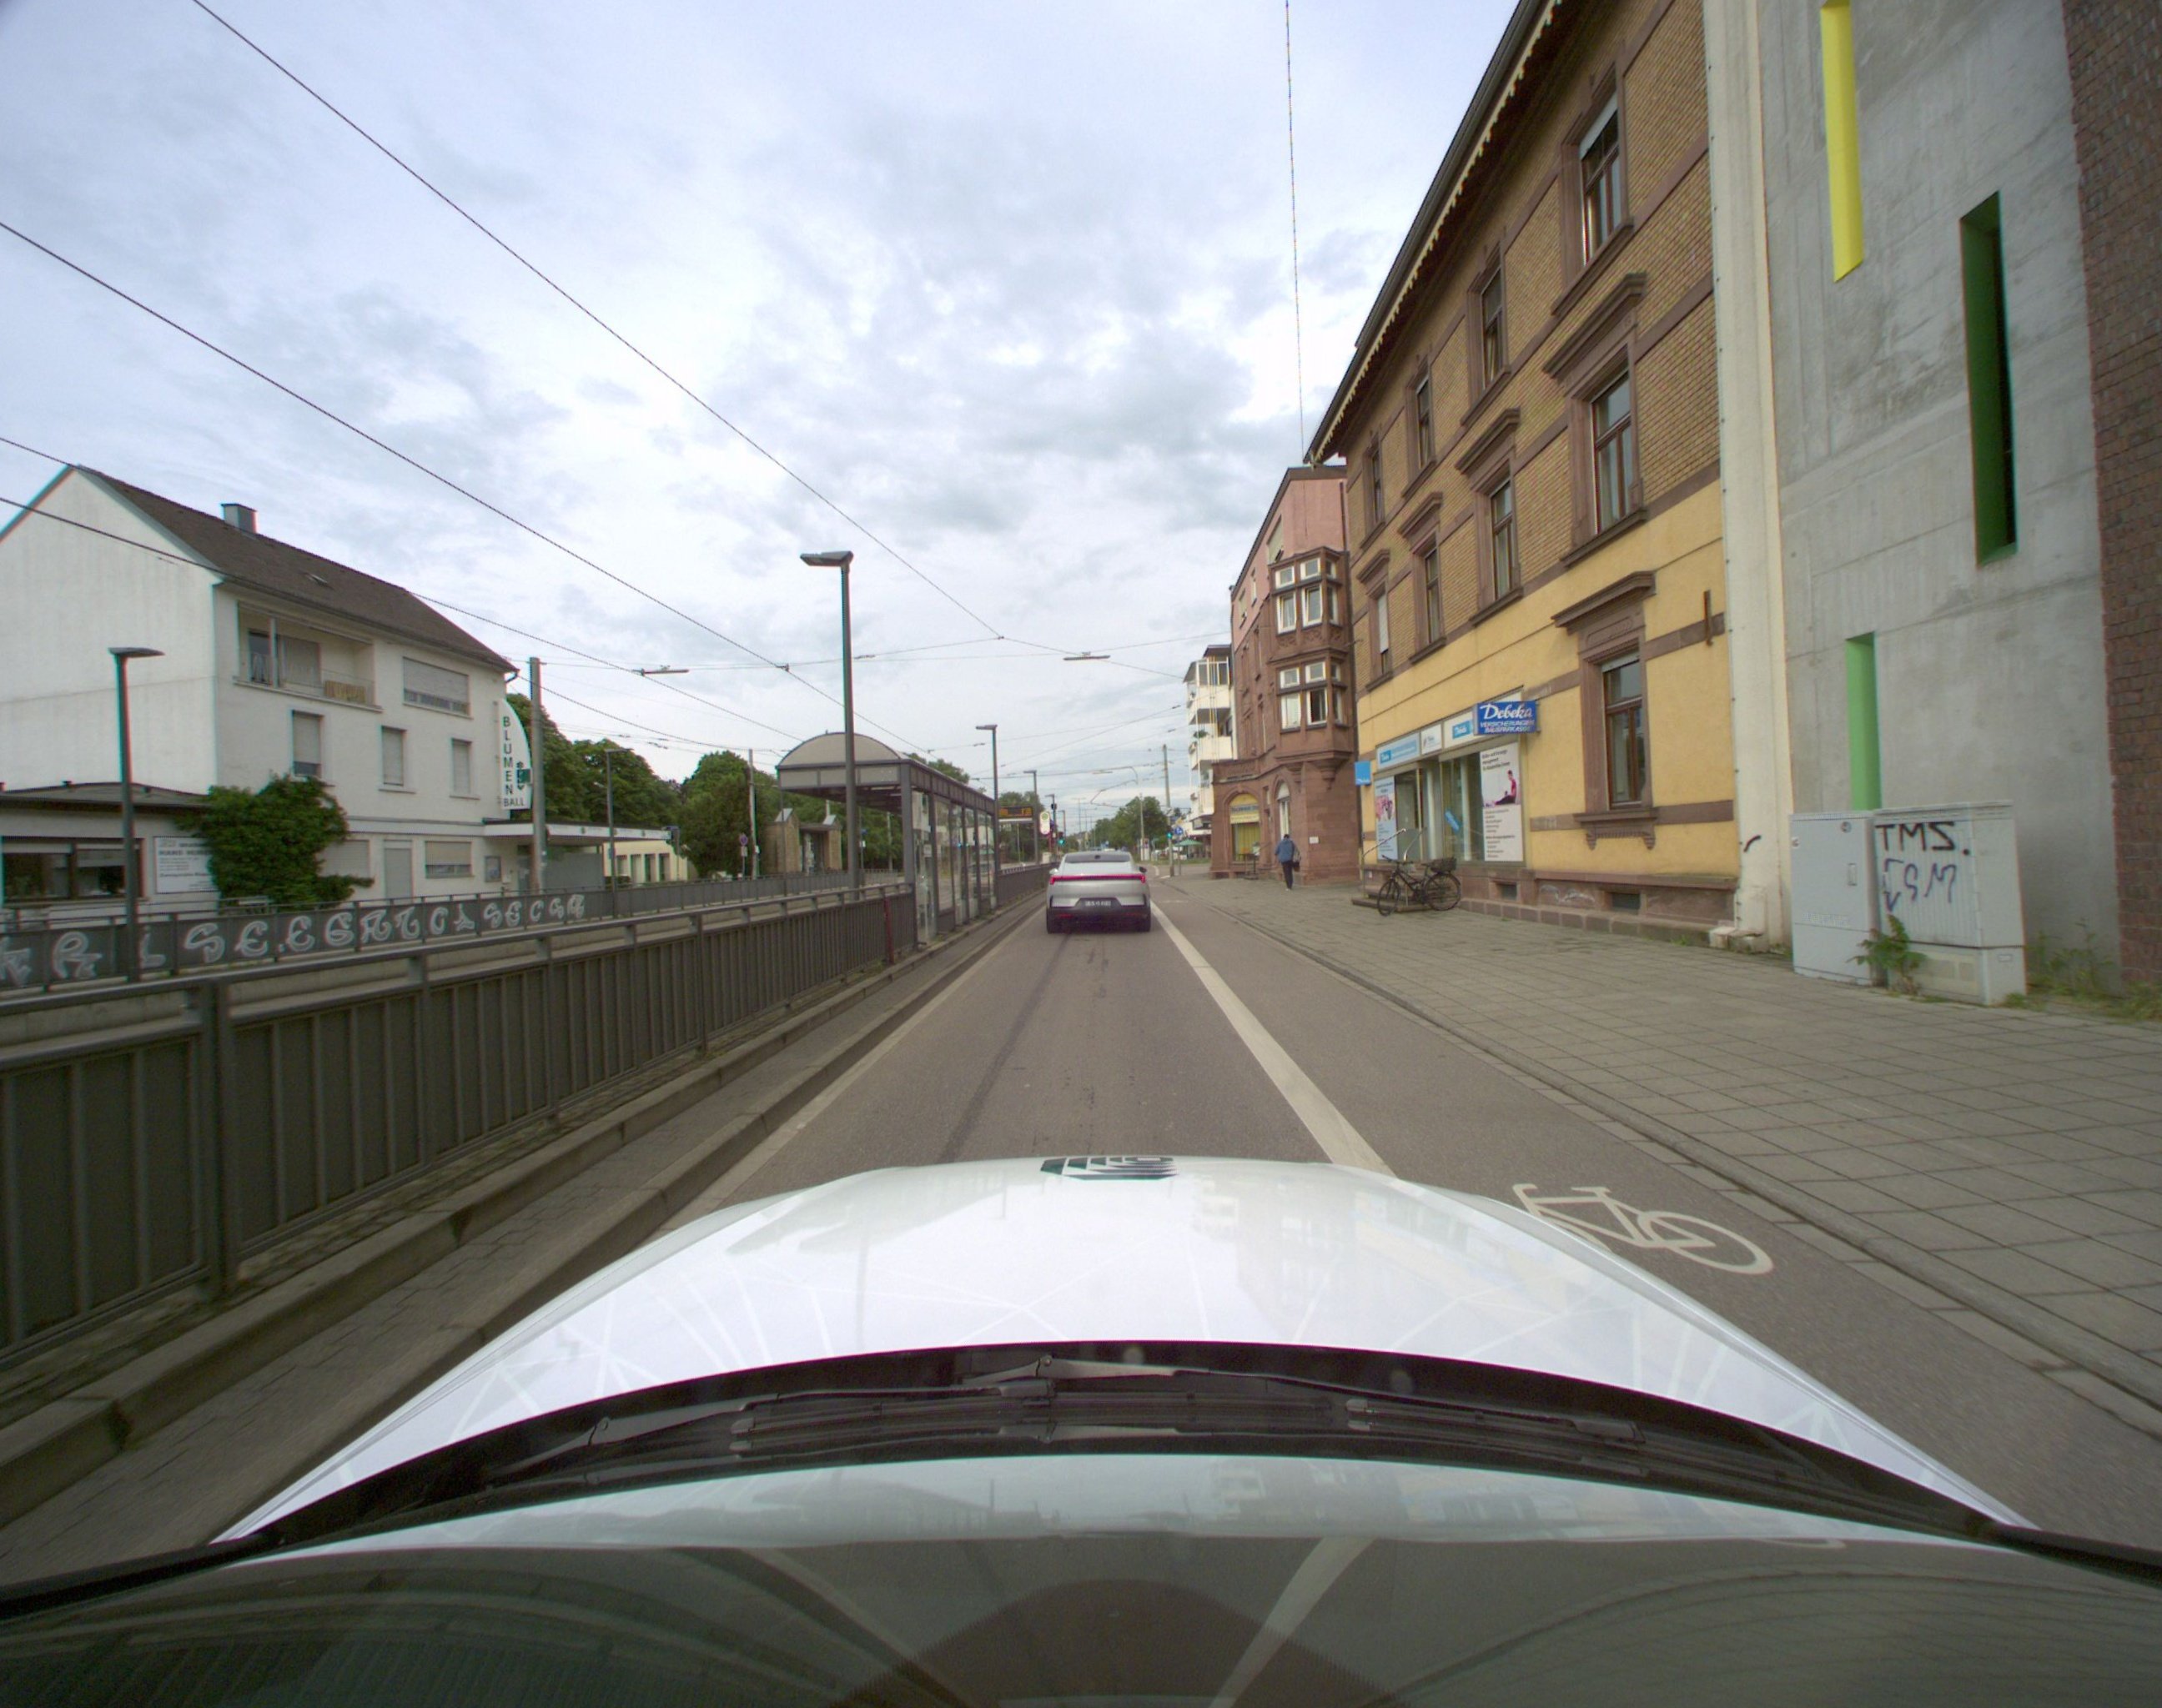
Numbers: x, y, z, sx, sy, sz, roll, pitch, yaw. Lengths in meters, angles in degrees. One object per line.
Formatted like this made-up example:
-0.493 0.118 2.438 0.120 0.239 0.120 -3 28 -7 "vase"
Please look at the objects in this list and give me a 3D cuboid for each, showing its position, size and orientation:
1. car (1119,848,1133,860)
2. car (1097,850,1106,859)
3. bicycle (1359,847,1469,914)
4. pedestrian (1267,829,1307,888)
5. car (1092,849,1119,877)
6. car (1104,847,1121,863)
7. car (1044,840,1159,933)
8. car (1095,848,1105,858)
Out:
9.732 0.089 175.057 2.796 2.505 5.725 -1 -1 2 "car"
4.682 0.135 184.348 1.986 2.013 4.002 -2 0 2 "car"
6.384 0.494 15.651 1.771 1.129 0.642 -5 0 0 "bicycle"
6.779 0.134 26.817 0.957 1.850 0.976 -4 0 2 "pedestrian"
1.592 0.575 52.647 1.674 1.687 3.825 -1 -1 2 "car"
4.948 0.145 128.564 2.220 2.402 5.119 -1 -1 -2 "car"
0.284 0.594 16.282 1.994 1.581 3.996 -1 -1 -3 "car"
3.807 -0.177 162.624 1.986 2.013 4.002 -2 0 2 "car"
